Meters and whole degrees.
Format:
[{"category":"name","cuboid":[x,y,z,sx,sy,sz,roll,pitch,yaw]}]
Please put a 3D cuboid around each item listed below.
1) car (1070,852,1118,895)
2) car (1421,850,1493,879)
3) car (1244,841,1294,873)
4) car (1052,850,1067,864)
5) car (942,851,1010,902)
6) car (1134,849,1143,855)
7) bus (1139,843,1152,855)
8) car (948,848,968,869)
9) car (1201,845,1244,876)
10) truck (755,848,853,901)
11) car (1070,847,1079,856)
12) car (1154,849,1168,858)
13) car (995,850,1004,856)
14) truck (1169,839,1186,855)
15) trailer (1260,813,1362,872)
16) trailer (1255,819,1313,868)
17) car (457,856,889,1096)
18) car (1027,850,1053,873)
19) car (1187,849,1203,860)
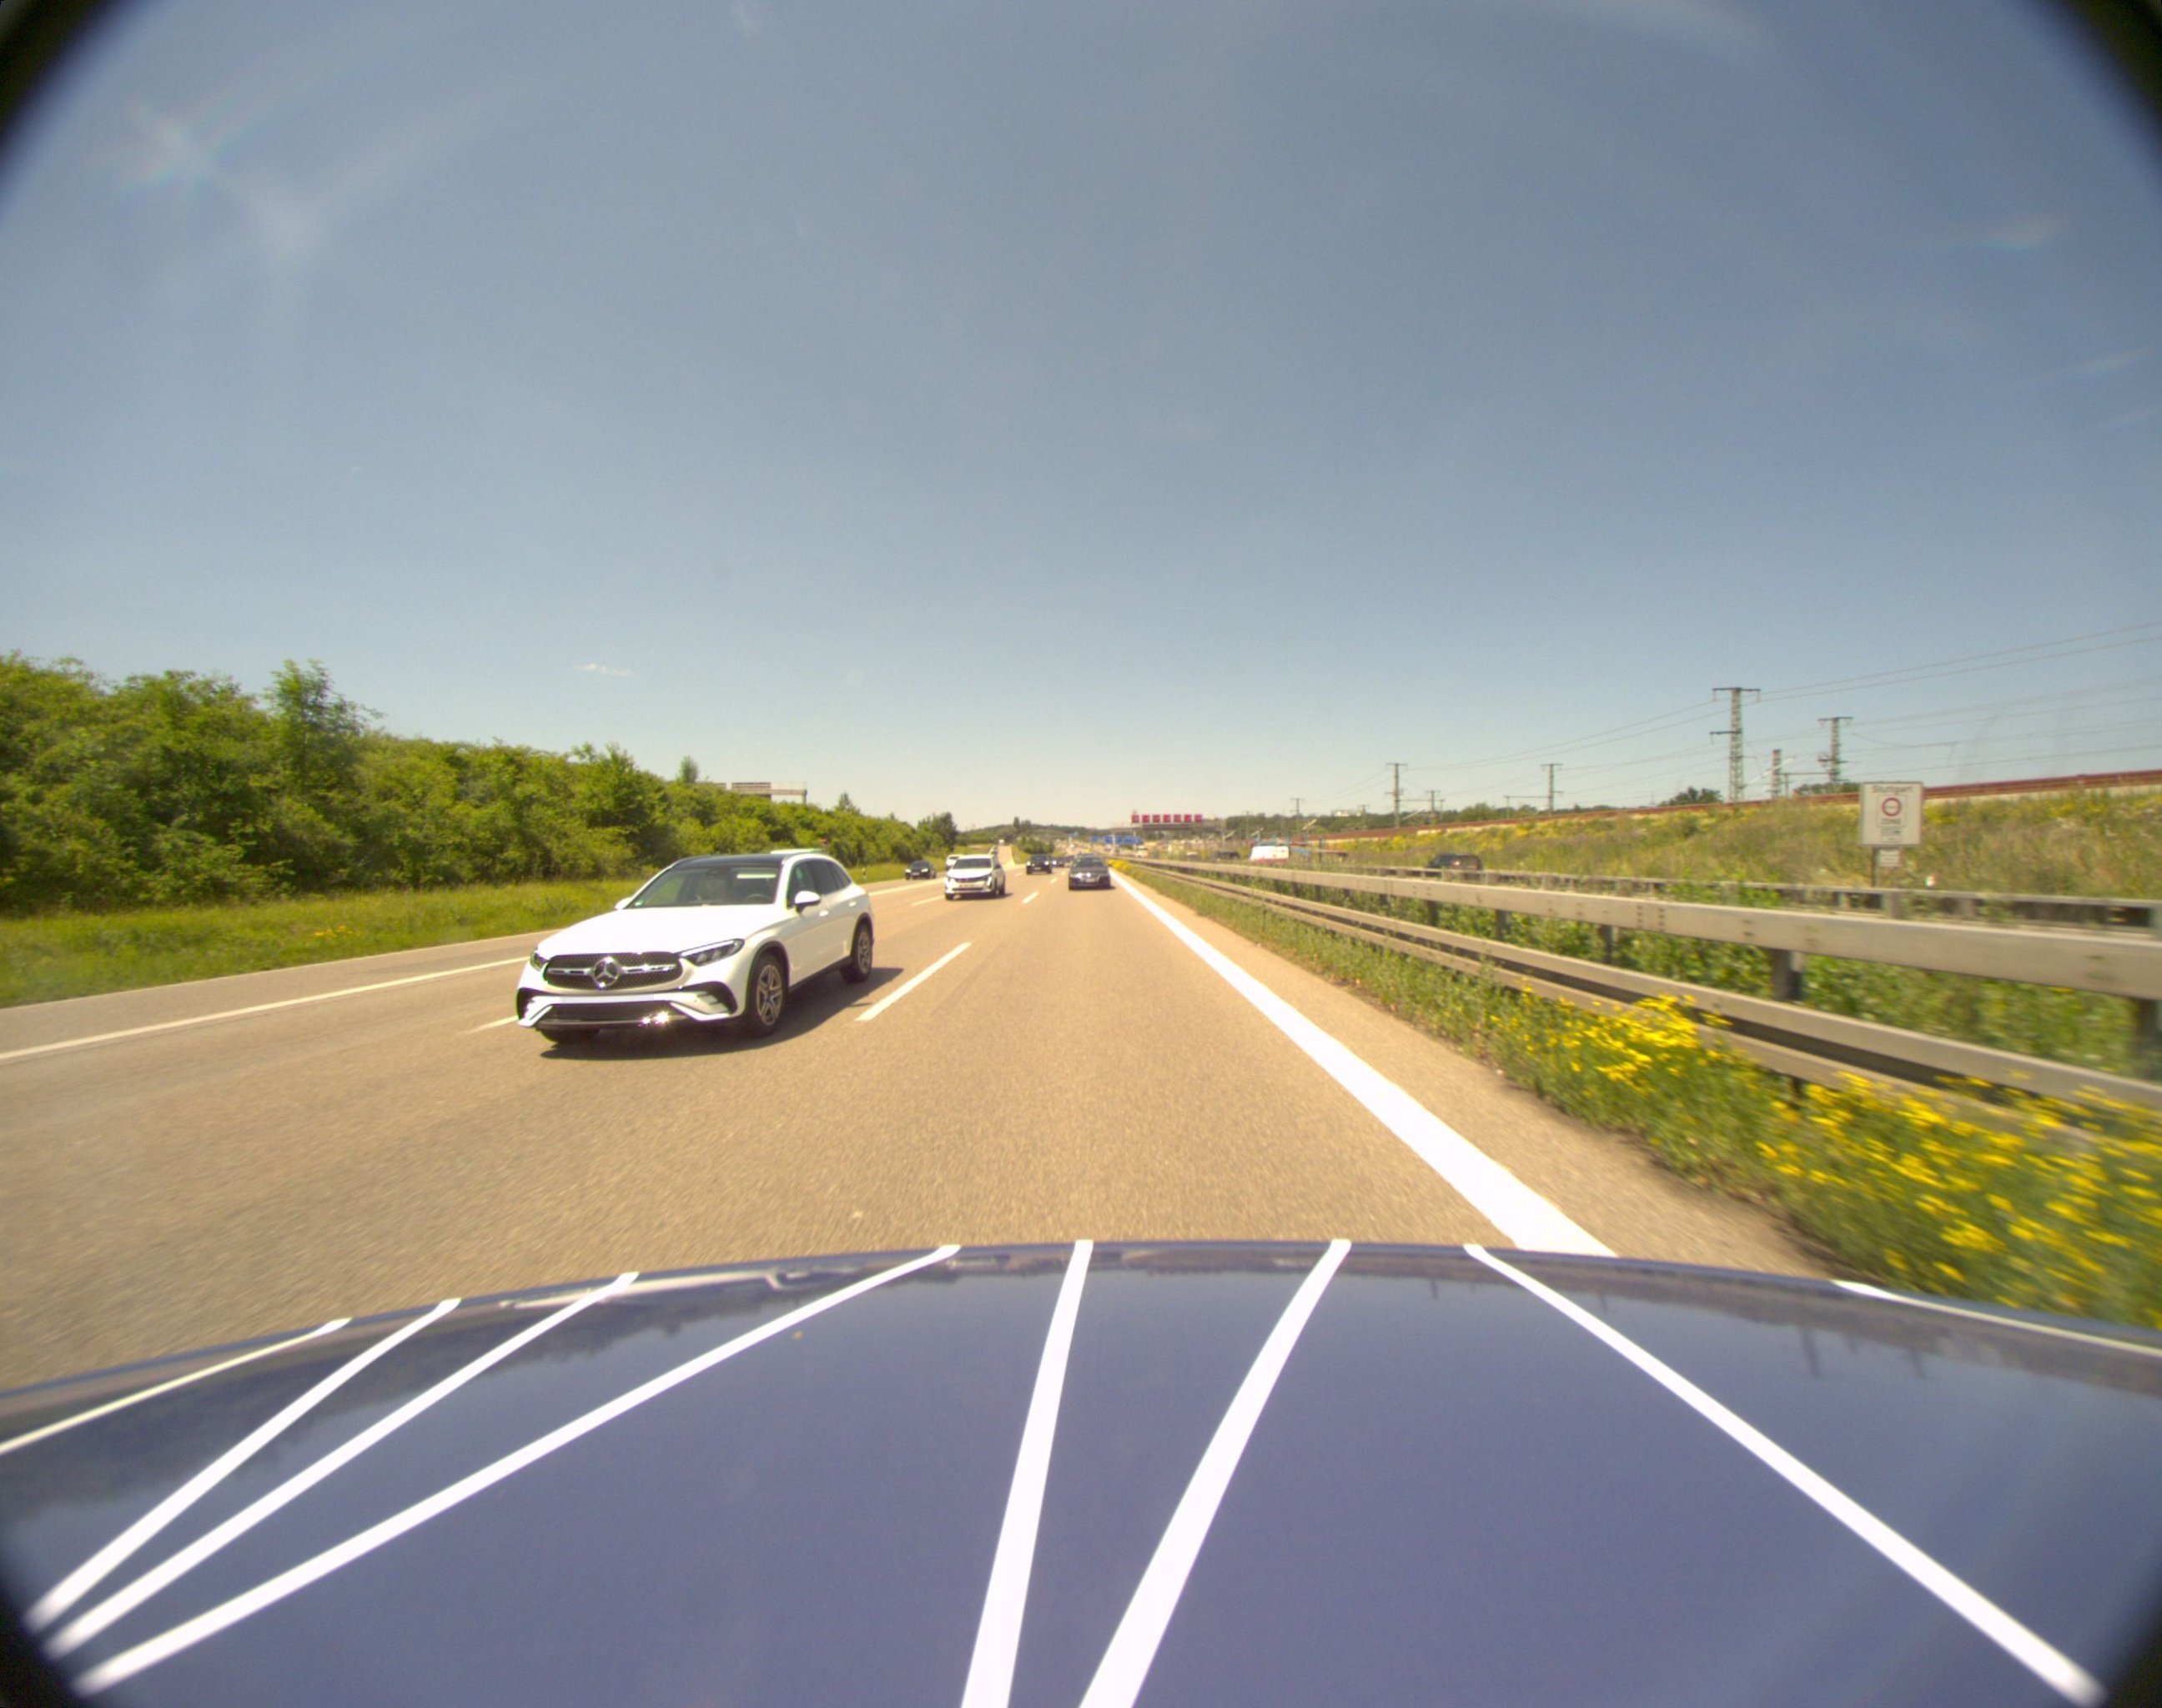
[{"category":"car","cuboid":[0.467,0.736,30.492,1.752,1.462,3.998,-2,2,0]},{"category":"car","cuboid":[20.689,0.540,41.989,1.922,1.506,4.238,-1,1,0]},{"category":"car","cuboid":[12.670,0.171,51.541,1.998,2.002,5.431,-1,1,0]},{"category":"car","cuboid":[-2.596,0.342,90.298,1.752,1.462,3.998,-2,2,-2]},{"category":"car","cuboid":[-3.914,0.785,29.078,1.898,1.620,4.615,-2,1,0]},{"category":"car","cuboid":[14.849,-0.610,197.013,1.925,1.601,4.000,1,0,1]},{"category":"bus","cuboid":[19.191,-1.496,227.768,2.864,3.624,10.940,-3,0,1]},{"category":"car","cuboid":[-13.742,0.489,85.148,2.000,2.159,4.890,-2,0,-7]},{"category":"car","cuboid":[8.934,0.377,48.314,1.998,1.838,4.000,-1,1,1]},{"category":"truck","cuboid":[-11.978,0.802,33.424,2.170,2.080,6.117,-1,1,-2]},{"category":"car","cuboid":[-1.403,-0.523,177.130,1.999,2.002,3.999,-2,1,0]},{"category":"car","cuboid":[14.503,-0.032,138.308,1.925,1.601,5.395,1,0,0]},{"category":"car","cuboid":[-23.864,-0.212,222.475,1.983,1.620,4.615,-2,1,-1]},{"category":"truck","cuboid":[21.861,-1.494,171.753,2.864,3.446,7.780,-3,0,1]},{"category":"trailer","cuboid":[16.941,-0.817,57.747,3.058,3.845,15.975,-1,0,0]},{"category":"trailer","cuboid":[17.018,-0.852,64.235,3.058,3.845,7.202,-1,1,0]},{"category":"car","cuboid":[-3.619,0.915,7.971,1.909,1.646,4.636,-2,1,1]},{"category":"car","cuboid":[-3.369,0.591,63.030,1.983,1.620,4.615,-2,1,-1]},{"category":"car","cuboid":[18.140,0.043,120.909,1.925,1.790,5.196,1,0,1]}]
